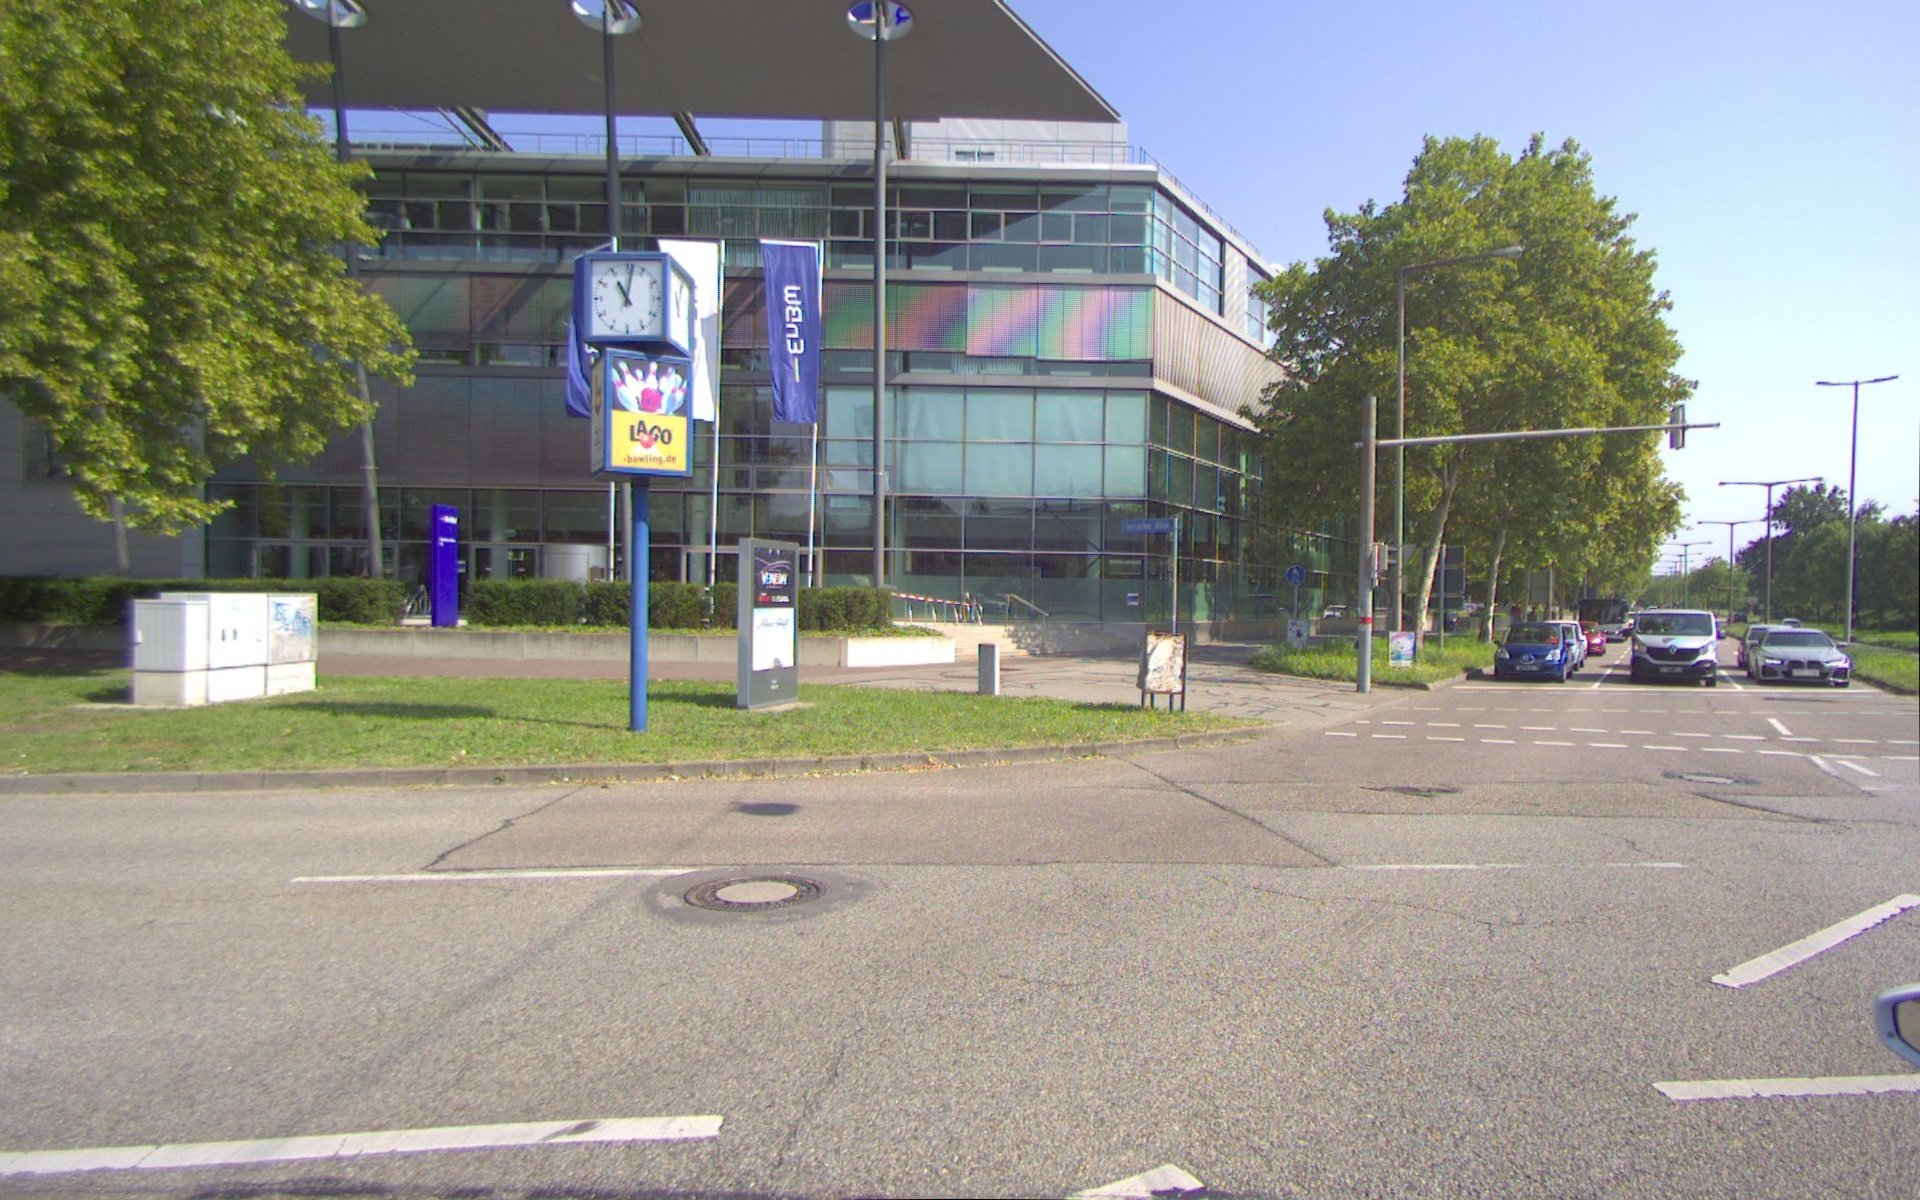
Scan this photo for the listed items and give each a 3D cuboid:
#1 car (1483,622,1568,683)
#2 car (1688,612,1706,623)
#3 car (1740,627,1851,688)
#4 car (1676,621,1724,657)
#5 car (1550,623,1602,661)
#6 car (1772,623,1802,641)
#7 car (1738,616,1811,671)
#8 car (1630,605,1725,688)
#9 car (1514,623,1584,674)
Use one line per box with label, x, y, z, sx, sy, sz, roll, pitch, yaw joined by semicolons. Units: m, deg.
car;15.719;1.399;27.845;1.646;1.555;3.717;-1;-1;36
car;113.688;2.728;154.908;1.971;1.724;3.980;1;-1;41
car;22.412;1.476;27.100;1.810;1.462;4.592;-1;-1;34
car;32.949;1.708;44.769;1.646;1.555;3.717;-1;-2;36
car;26.935;1.797;43.855;1.646;1.555;3.717;-1;-2;36
car;81.602;3.121;99.142;1.967;1.676;3.988;1;-1;34
car;26.802;1.375;33.130;1.593;1.555;4.086;-1;1;36
car;19.481;1.156;27.455;1.901;1.984;5.197;1;1;34
car;19.365;1.539;32.965;1.646;1.555;3.717;-1;-2;36
